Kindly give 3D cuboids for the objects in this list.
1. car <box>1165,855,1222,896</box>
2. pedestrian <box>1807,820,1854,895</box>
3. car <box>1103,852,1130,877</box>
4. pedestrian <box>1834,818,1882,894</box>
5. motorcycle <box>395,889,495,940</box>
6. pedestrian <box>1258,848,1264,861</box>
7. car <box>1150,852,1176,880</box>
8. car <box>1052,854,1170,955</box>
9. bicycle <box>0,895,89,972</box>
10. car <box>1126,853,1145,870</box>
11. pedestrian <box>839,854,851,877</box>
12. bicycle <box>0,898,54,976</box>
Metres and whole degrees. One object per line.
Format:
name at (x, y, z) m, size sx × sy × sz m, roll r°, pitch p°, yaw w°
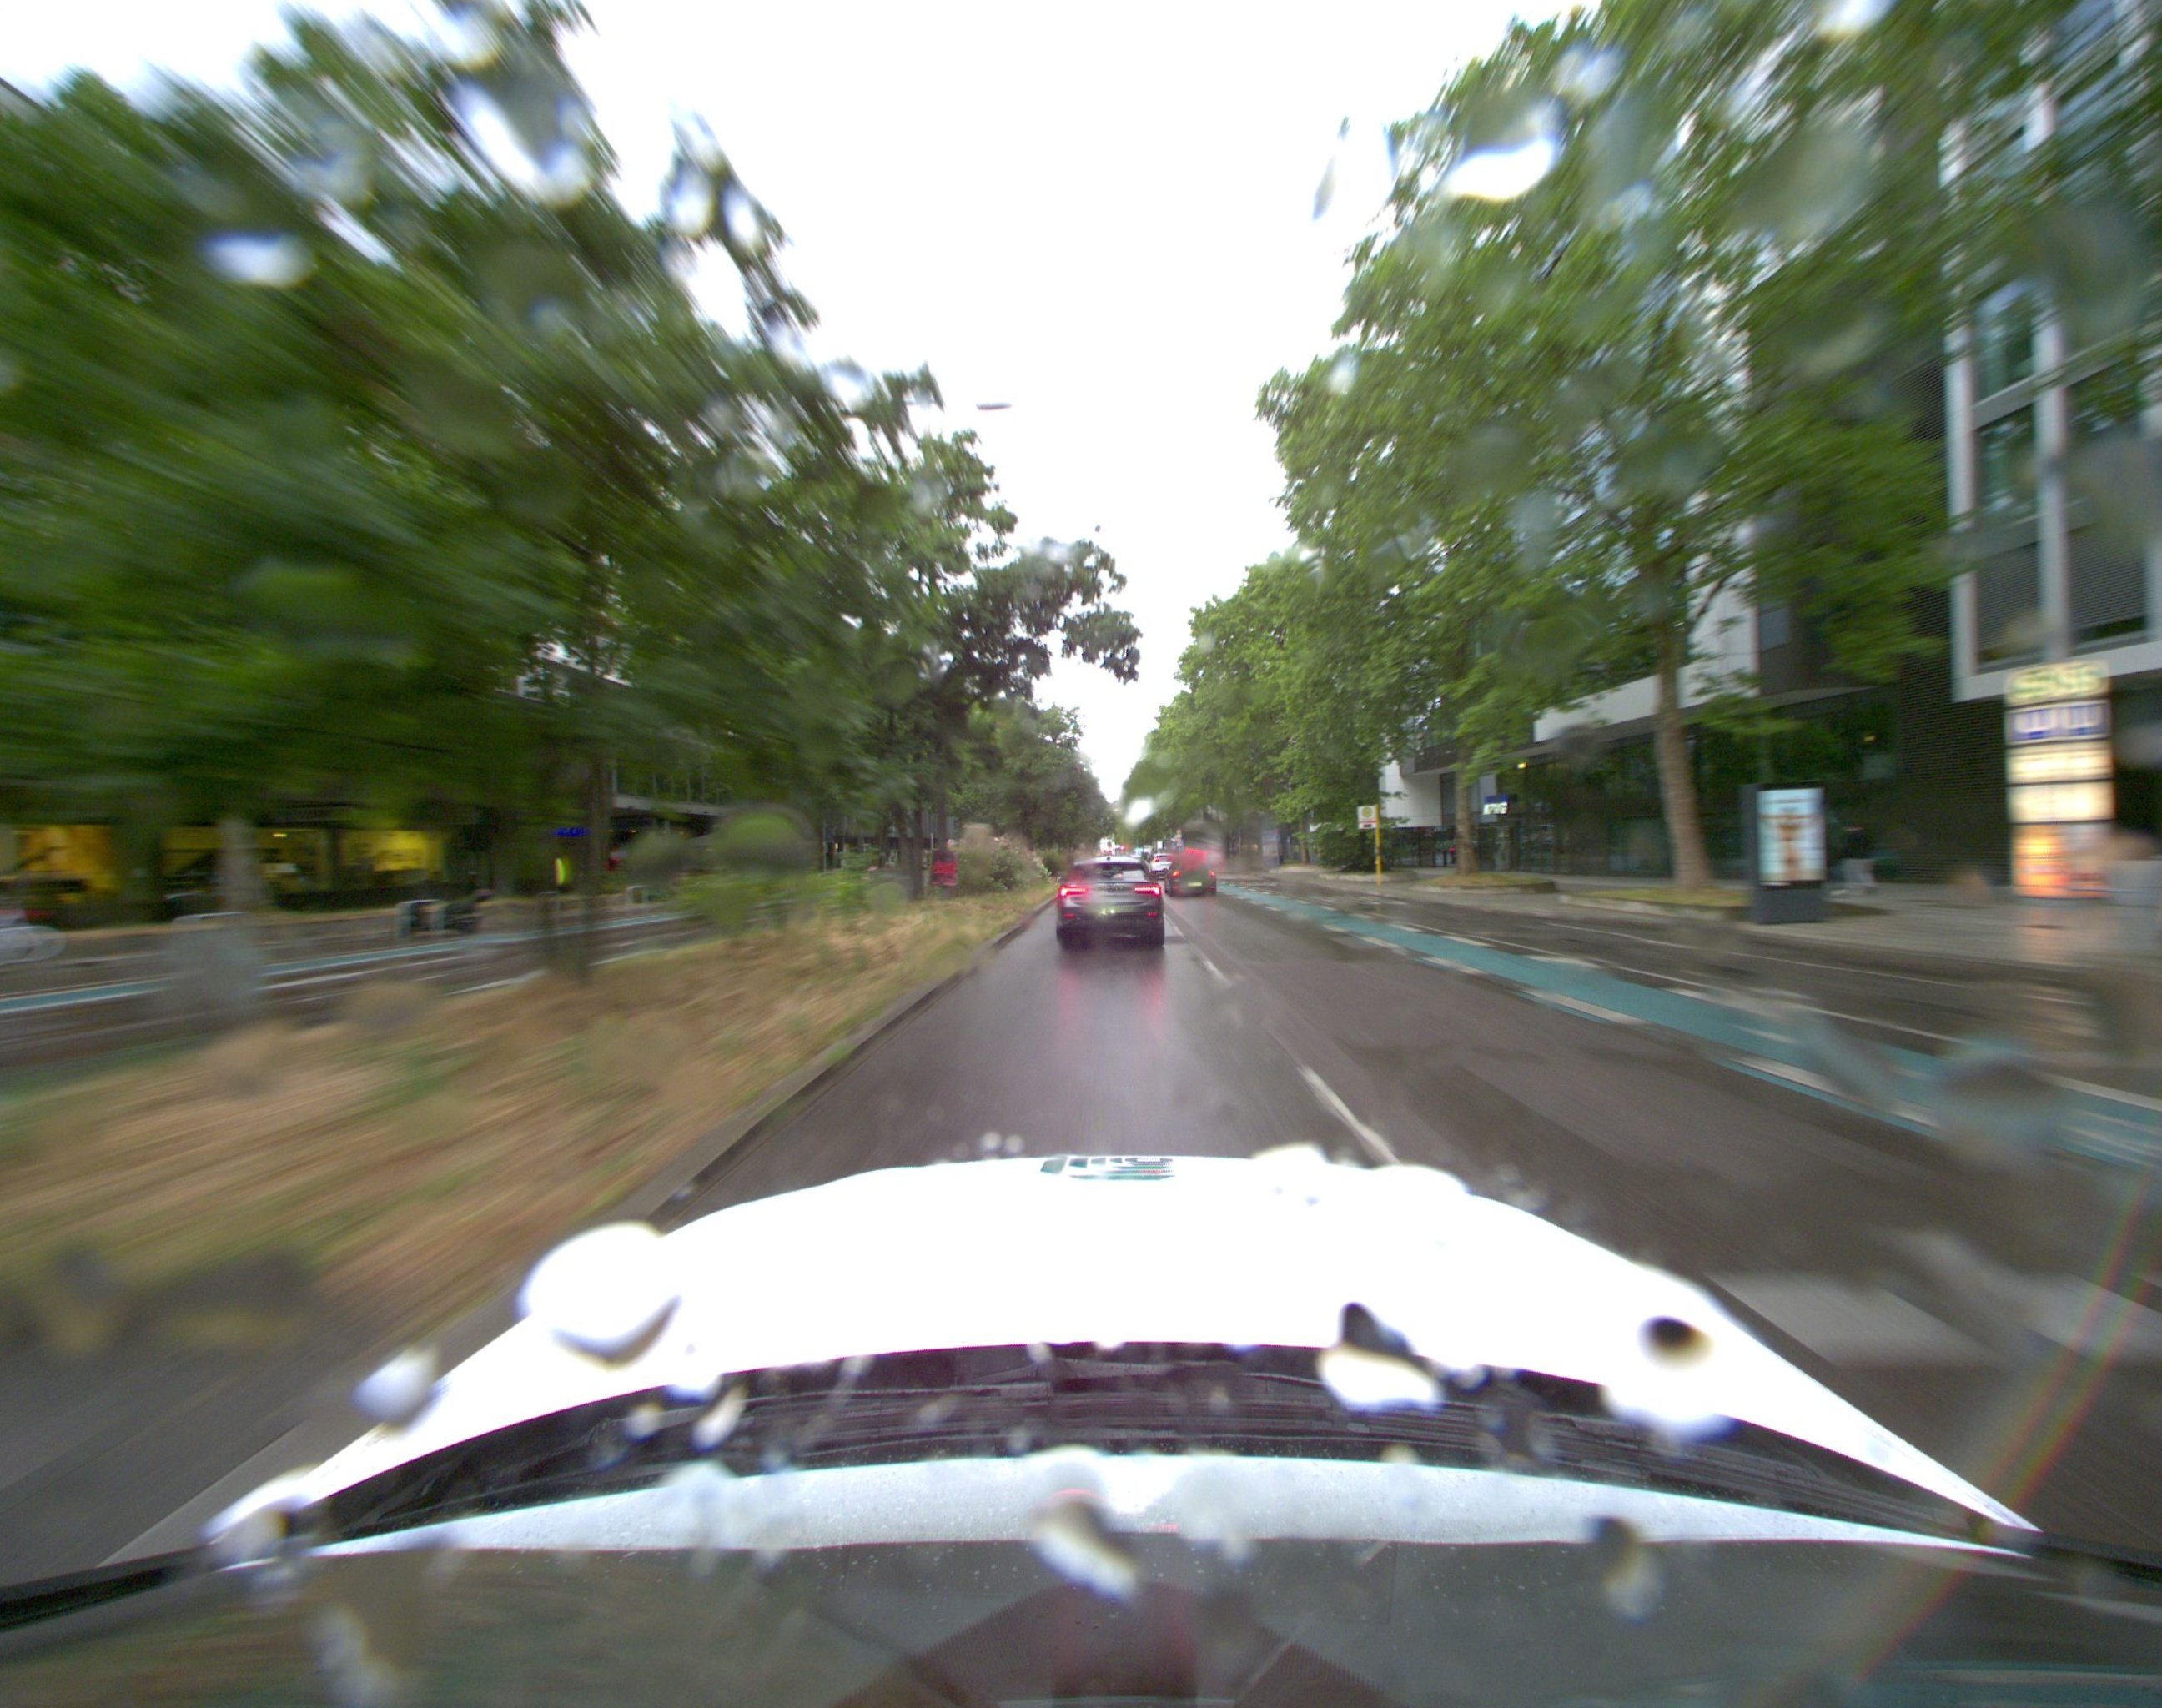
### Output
car at (4.295, 0.787, 31.624) m, size 1.758 × 1.413 × 4.002 m, roll -2°, pitch 0°, yaw 2°
pedestrian at (18.530, 0.088, 20.142) m, size 0.561 × 1.794 × 0.607 m, roll -2°, pitch 0°, yaw -1°
car at (2.370, 0.677, 54.731) m, size 1.715 × 1.577 × 3.963 m, roll -2°, pitch 0°, yaw 2°
pedestrian at (19.369, 0.047, 20.316) m, size 0.561 × 1.855 × 0.607 m, roll -2°, pitch 0°, yaw -1°
motorcycle at (-14.907, 1.410, 19.127) m, size 1.784 × 1.085 × 0.491 m, roll -1°, pitch -1°, yaw -28°
pedestrian at (25.053, 0.075, 113.425) m, size 0.648 × 1.816 × 0.656 m, roll -1°, pitch 0°, yaw 1°
car at (5.161, 0.714, 51.697) m, size 1.427 × 1.685 × 2.981 m, roll -2°, pitch 0°, yaw 2°
car at (0.614, 0.807, 15.254) m, size 1.855 × 1.532 × 4.531 m, roll -1°, pitch 0°, yaw 3°
bicycle at (-17.405, 1.298, 13.169) m, size 1.841 × 1.149 × 0.565 m, roll -2°, pitch 0°, yaw -5°
car at (6.192, 0.807, 92.508) m, size 1.986 × 1.750 × 4.003 m, roll -2°, pitch 0°, yaw 2°
pedestrian at (-21.002, 0.997, 72.443) m, size 0.877 × 2.013 × 0.636 m, roll -1°, pitch 0°, yaw 1°
bicycle at (-17.180, 1.303, 12.536) m, size 1.841 × 1.136 × 0.565 m, roll -2°, pitch 0°, yaw -5°
